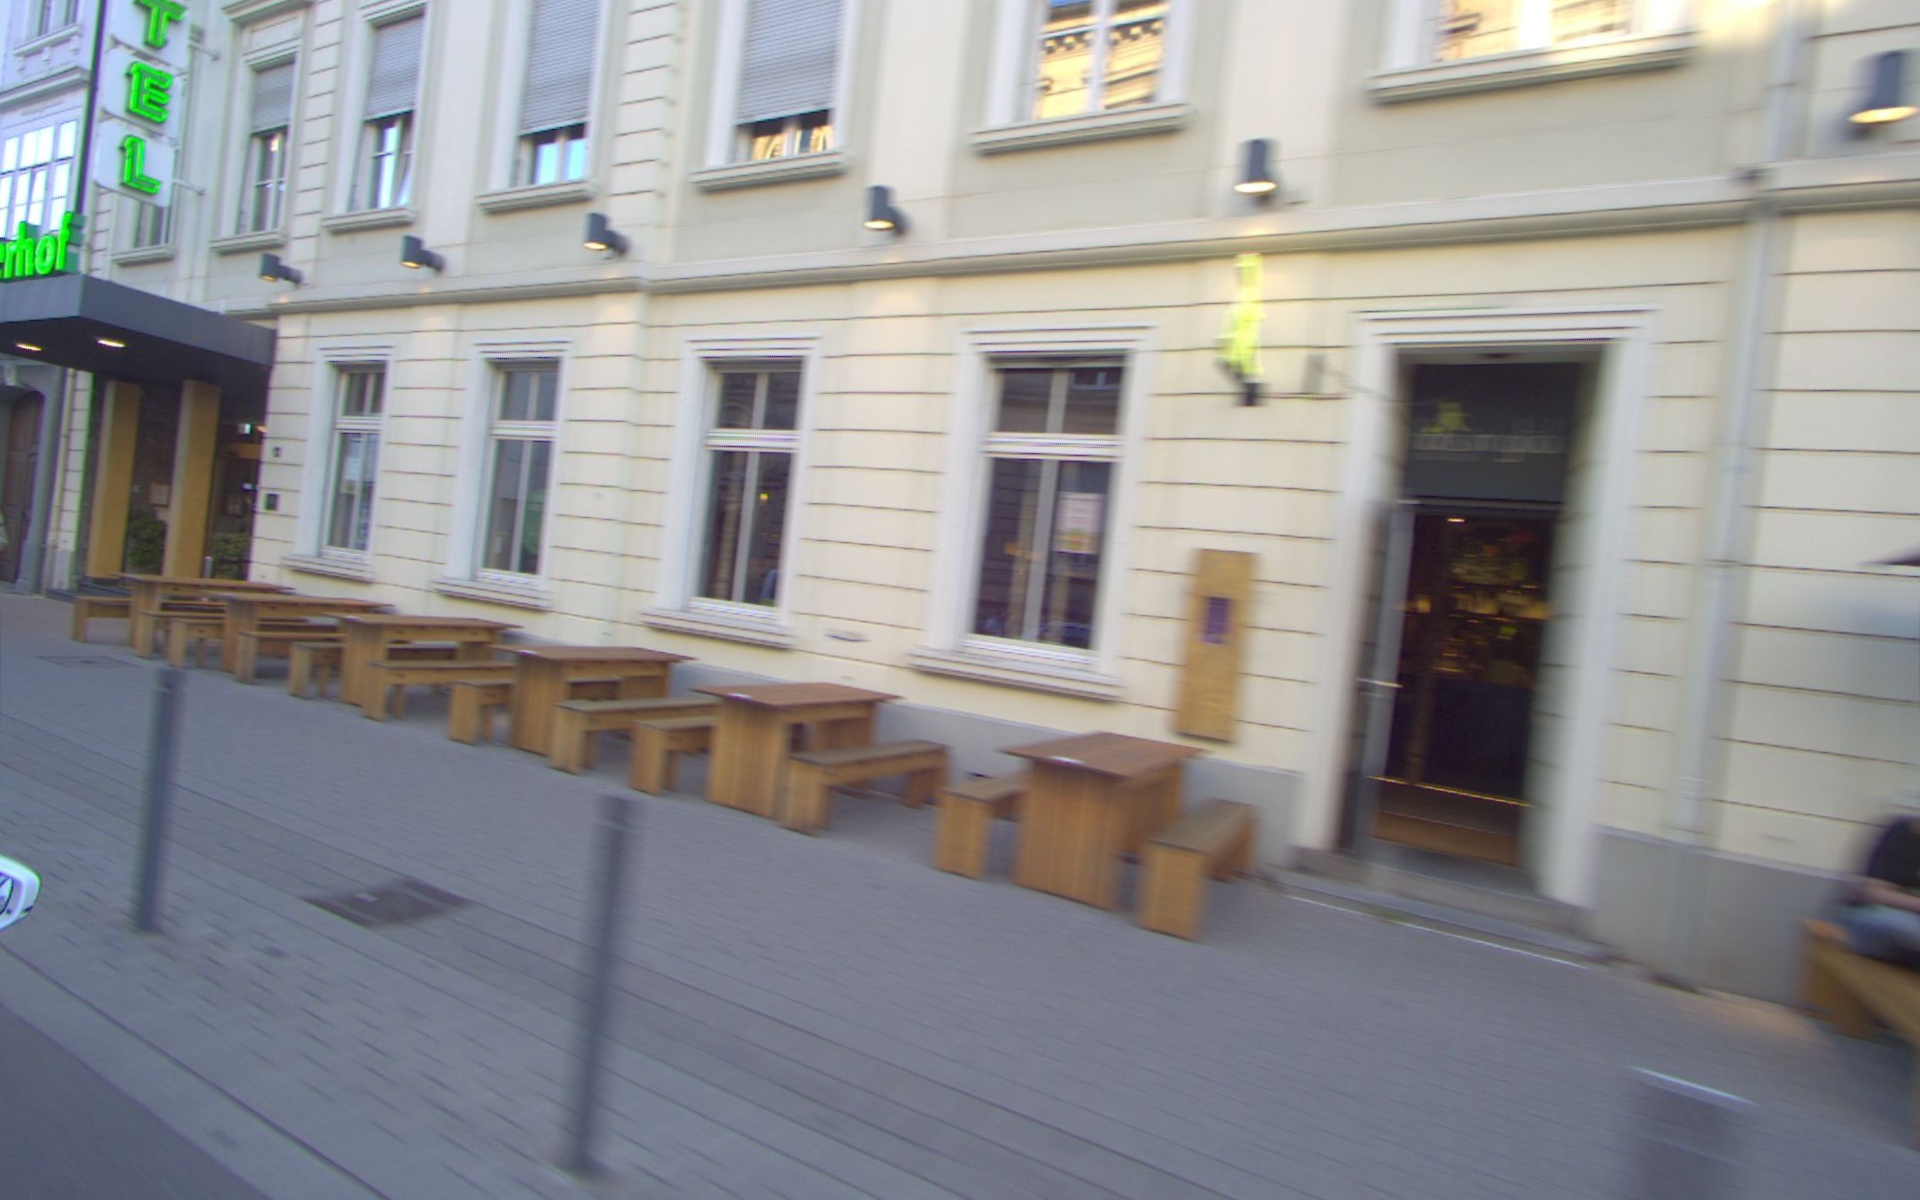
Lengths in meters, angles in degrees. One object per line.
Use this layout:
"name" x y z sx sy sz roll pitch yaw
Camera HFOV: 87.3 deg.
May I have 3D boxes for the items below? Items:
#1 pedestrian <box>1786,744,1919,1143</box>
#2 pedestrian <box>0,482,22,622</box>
"pedestrian" 3.969 1.342 3.953 0.710 1.376 0.777 7 0 12
"pedestrian" -11.575 -0.601 11.769 0.604 1.621 0.630 7 1 30
